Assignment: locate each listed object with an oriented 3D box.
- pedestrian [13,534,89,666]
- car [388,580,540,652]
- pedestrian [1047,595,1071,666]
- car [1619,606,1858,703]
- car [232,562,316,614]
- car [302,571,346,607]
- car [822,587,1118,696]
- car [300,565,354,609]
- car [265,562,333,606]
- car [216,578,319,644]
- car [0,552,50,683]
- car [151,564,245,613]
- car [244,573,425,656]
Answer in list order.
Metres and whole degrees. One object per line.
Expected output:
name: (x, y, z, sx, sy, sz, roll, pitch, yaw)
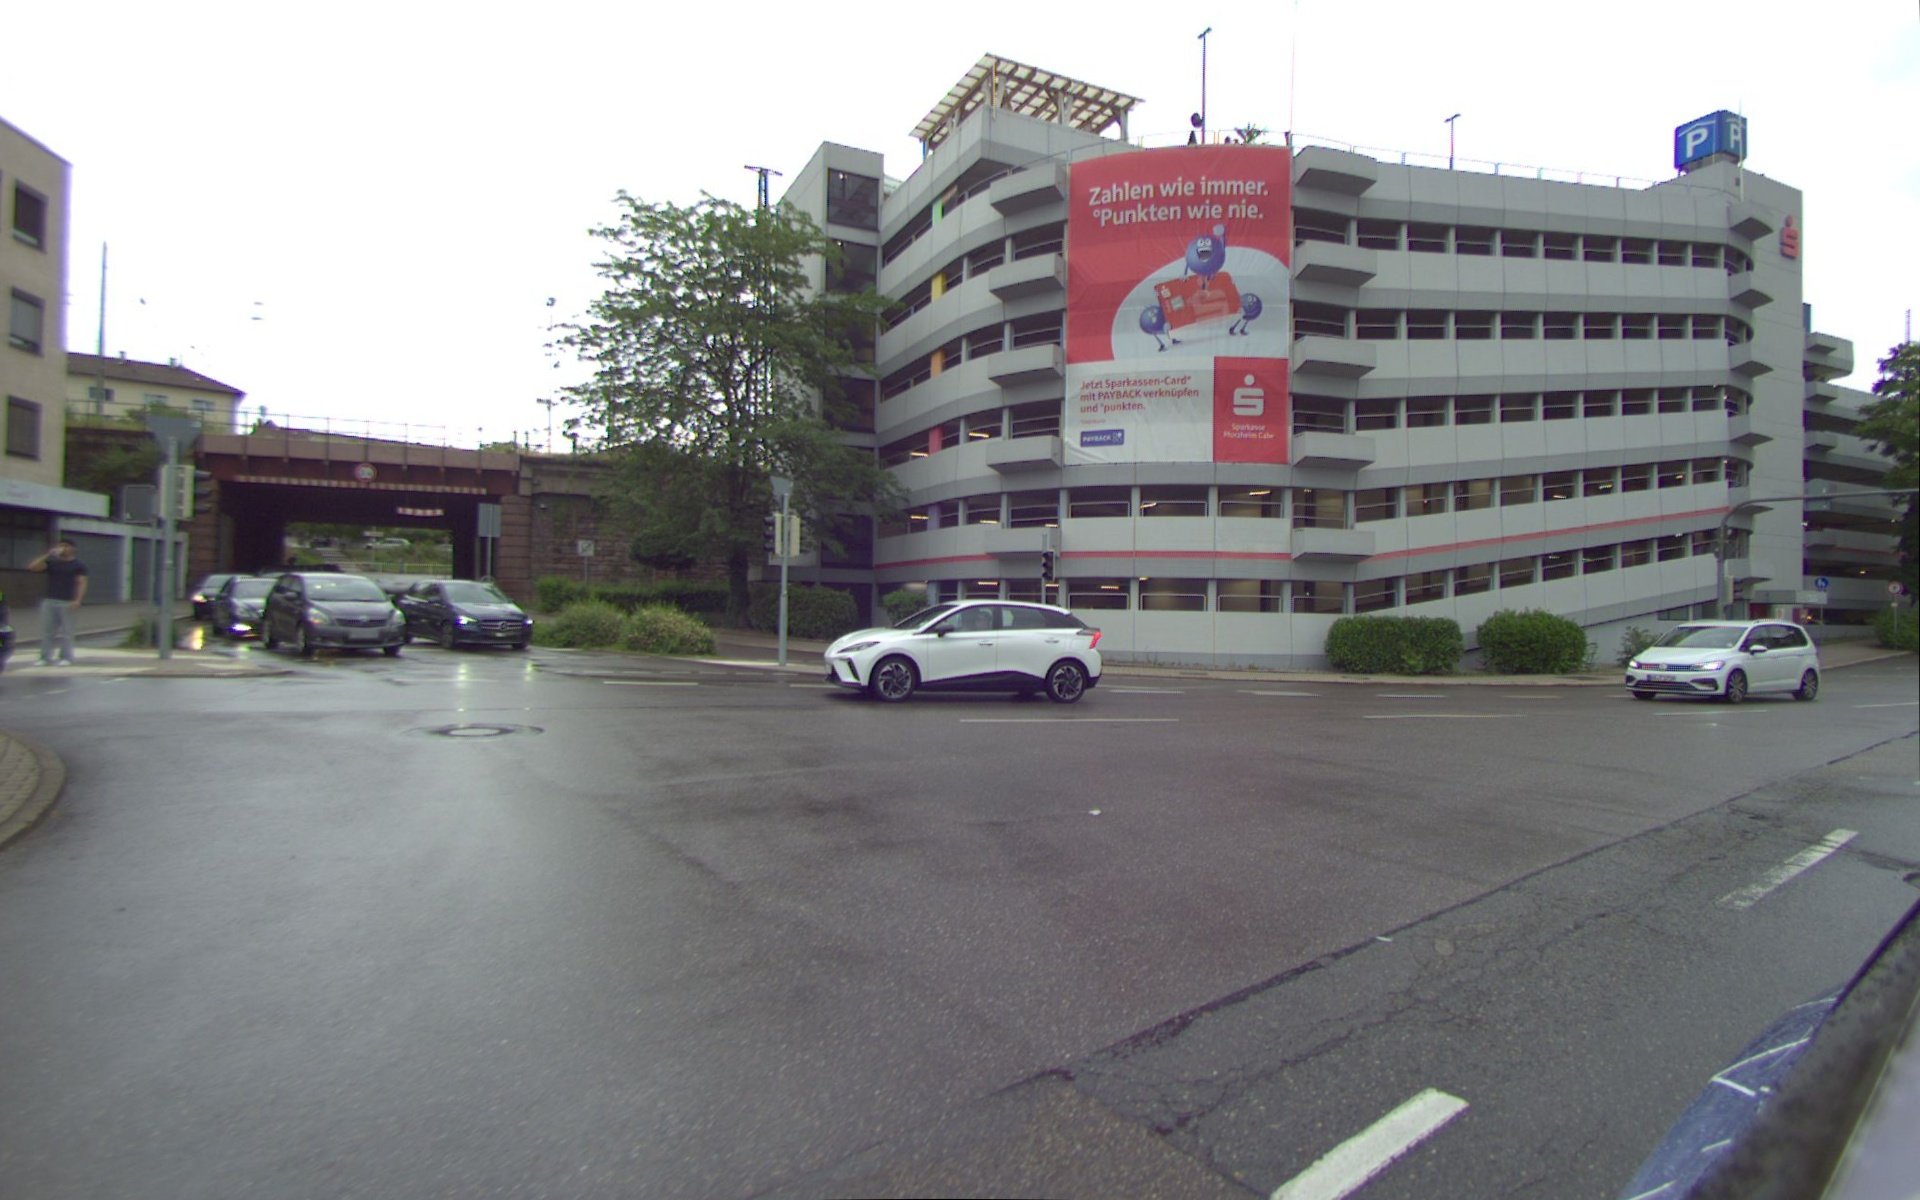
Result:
pedestrian: (-12.961, 0.012, 14.436, 0.762, 1.814, 0.856, 1, -3, -44)
car: (-11.646, 0.314, 23.610, 1.966, 1.462, 4.475, 1, 1, -43)
pedestrian: (2.720, 0.823, 27.694, 0.536, 1.913, 0.506, 3, 1, 10)
car: (15.569, 1.049, 20.242, 4.308, 1.748, 2.003, 2, -1, -24)
car: (-26.190, -0.404, 38.777, 1.958, 1.806, 4.170, 0, -2, -24)
car: (-39.175, -0.631, 62.408, 1.959, 2.040, 4.004, 0, -2, -27)
car: (0.105, 0.627, 15.329, 4.120, 1.497, 1.809, 1, -3, -17)
car: (-32.217, -0.626, 51.605, 1.959, 2.040, 4.004, 0, -2, -27)
car: (-29.760, -0.691, 45.709, 1.958, 1.806, 4.006, 0, -2, -24)
car: (-17.510, 0.237, 25.547, 1.962, 1.462, 4.484, 1, 1, -36)
car: (-12.842, 0.171, 11.217, 3.666, 1.512, 1.681, 1, -3, -18)
car: (-24.772, -0.383, 32.851, 1.966, 1.462, 4.475, 1, 1, -43)
car: (-12.937, 0.234, 20.824, 4.467, 1.462, 1.970, 2, 1, 42)
